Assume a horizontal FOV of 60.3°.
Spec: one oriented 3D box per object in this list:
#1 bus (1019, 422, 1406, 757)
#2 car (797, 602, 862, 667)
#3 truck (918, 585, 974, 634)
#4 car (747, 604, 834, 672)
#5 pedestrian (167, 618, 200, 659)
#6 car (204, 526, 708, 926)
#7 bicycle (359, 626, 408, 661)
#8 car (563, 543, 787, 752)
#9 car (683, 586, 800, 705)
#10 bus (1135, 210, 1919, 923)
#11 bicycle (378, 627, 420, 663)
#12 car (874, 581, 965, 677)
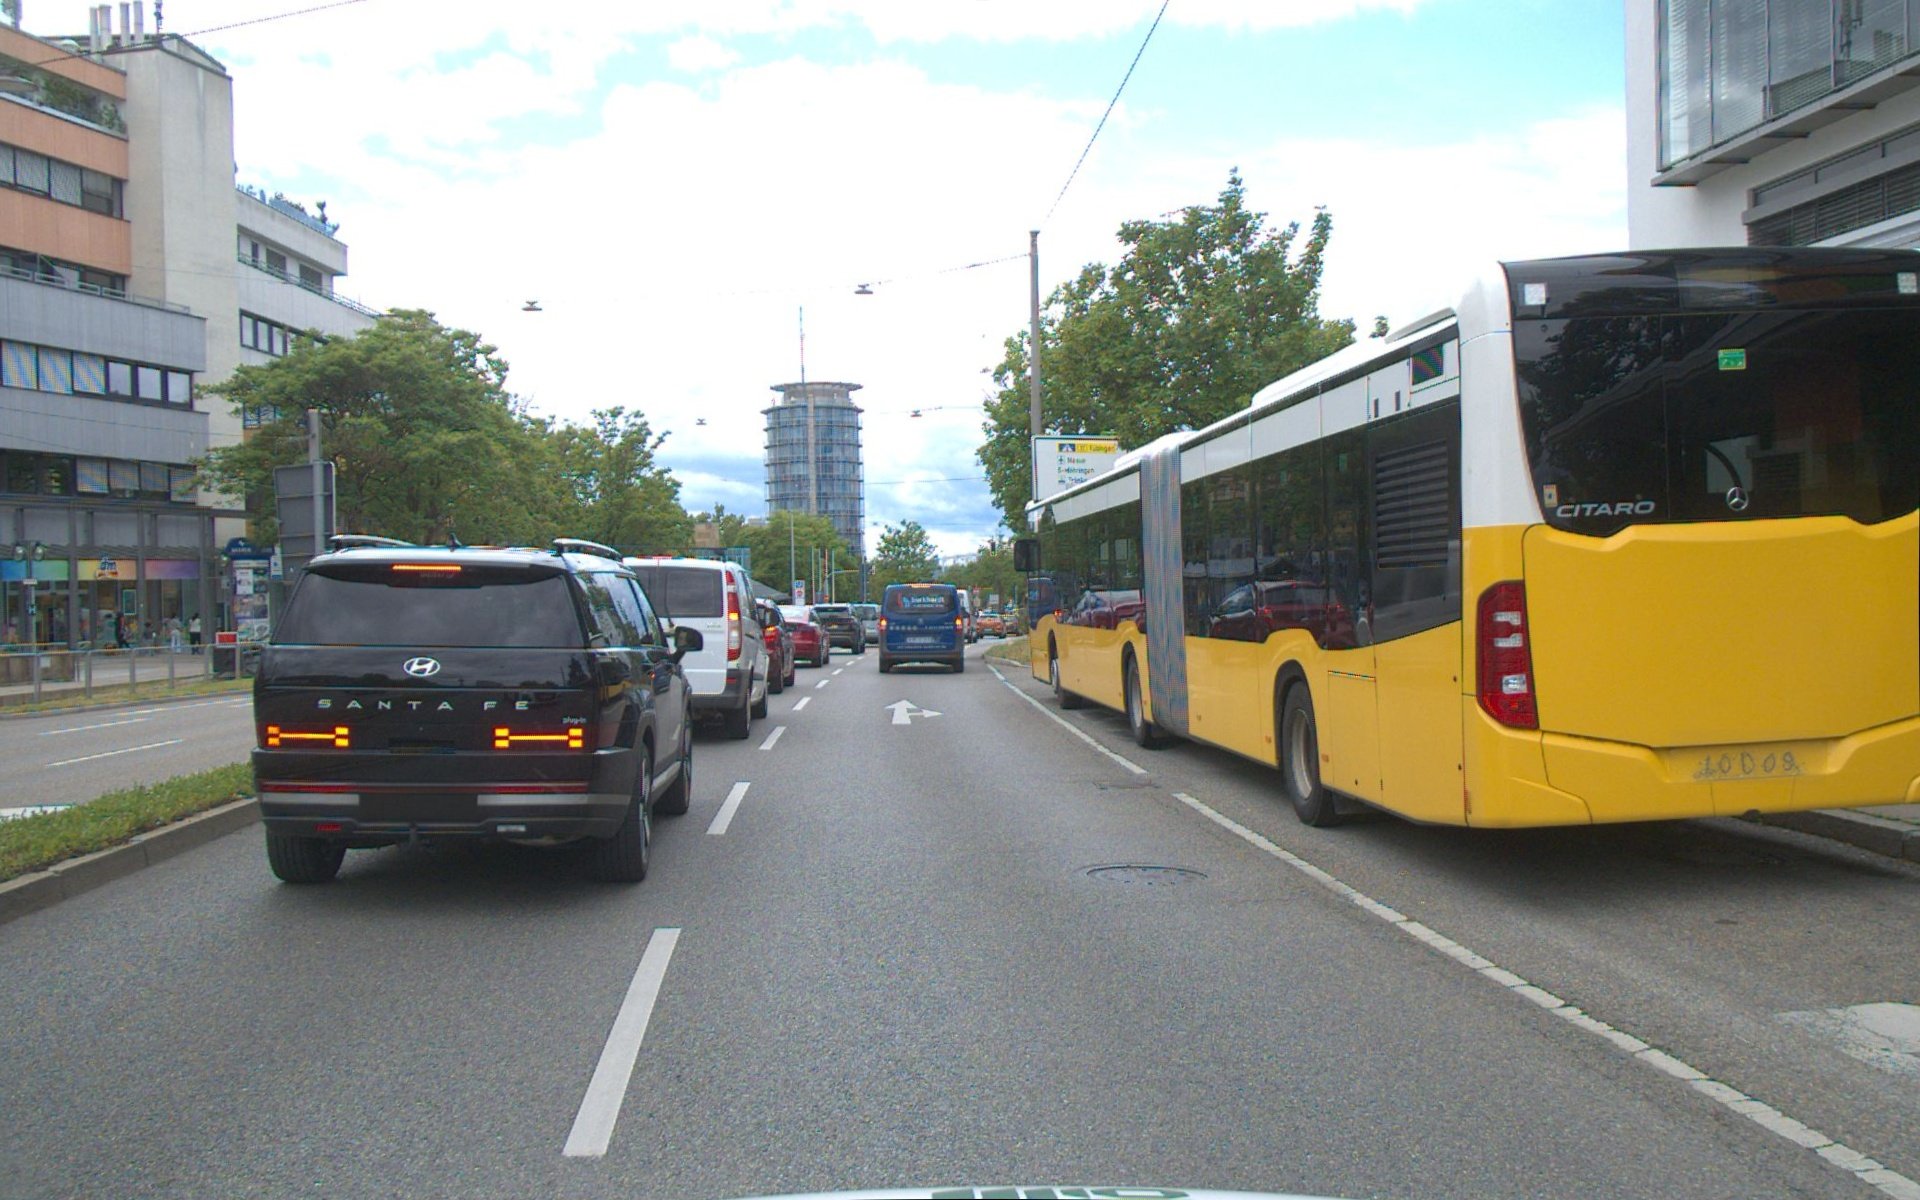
[{"bbox_3d":[2.675,-0.123,20.916,2.659,3.219,9.118,-2,0,-5],"label":"bus"},{"bbox_3d":[-4.285,1.116,54.754,1.953,2.049,3.998,0,0,-2],"label":"car"},{"bbox_3d":[-0.623,0.471,78.943,1.951,2.204,5.563,0,-1,7],"label":"truck"},{"bbox_3d":[-4.056,0.926,40.075,1.831,1.512,3.997,-2,-2,-2],"label":"car"},{"bbox_3d":[-30.317,1.492,64.550,0.893,1.554,0.838,-2,0,-45],"label":"pedestrian"},{"bbox_3d":[-2.615,0.598,9.799,1.885,1.782,4.673,1,-1,-5],"label":"car"},{"bbox_3d":[-21.801,1.630,62.556,0.615,1.275,1.676,-2,-1,39],"label":"bicycle"},{"bbox_3d":[-3.145,0.473,19.264,1.836,2.049,5.074,-2,0,-2],"label":"car"},{"bbox_3d":[-3.628,0.764,27.993,1.713,1.753,3.995,-4,-1,-5],"label":"car"},{"bbox_3d":[3.417,-0.193,11.937,2.659,3.163,8.862,-2,0,-4],"label":"bus"},{"bbox_3d":[-21.179,1.693,62.430,0.424,1.275,1.462,-2,-1,41],"label":"bicycle"},{"bbox_3d":[-0.929,0.635,37.068,1.908,2.000,4.539,-1,-1,-2],"label":"car"}]
